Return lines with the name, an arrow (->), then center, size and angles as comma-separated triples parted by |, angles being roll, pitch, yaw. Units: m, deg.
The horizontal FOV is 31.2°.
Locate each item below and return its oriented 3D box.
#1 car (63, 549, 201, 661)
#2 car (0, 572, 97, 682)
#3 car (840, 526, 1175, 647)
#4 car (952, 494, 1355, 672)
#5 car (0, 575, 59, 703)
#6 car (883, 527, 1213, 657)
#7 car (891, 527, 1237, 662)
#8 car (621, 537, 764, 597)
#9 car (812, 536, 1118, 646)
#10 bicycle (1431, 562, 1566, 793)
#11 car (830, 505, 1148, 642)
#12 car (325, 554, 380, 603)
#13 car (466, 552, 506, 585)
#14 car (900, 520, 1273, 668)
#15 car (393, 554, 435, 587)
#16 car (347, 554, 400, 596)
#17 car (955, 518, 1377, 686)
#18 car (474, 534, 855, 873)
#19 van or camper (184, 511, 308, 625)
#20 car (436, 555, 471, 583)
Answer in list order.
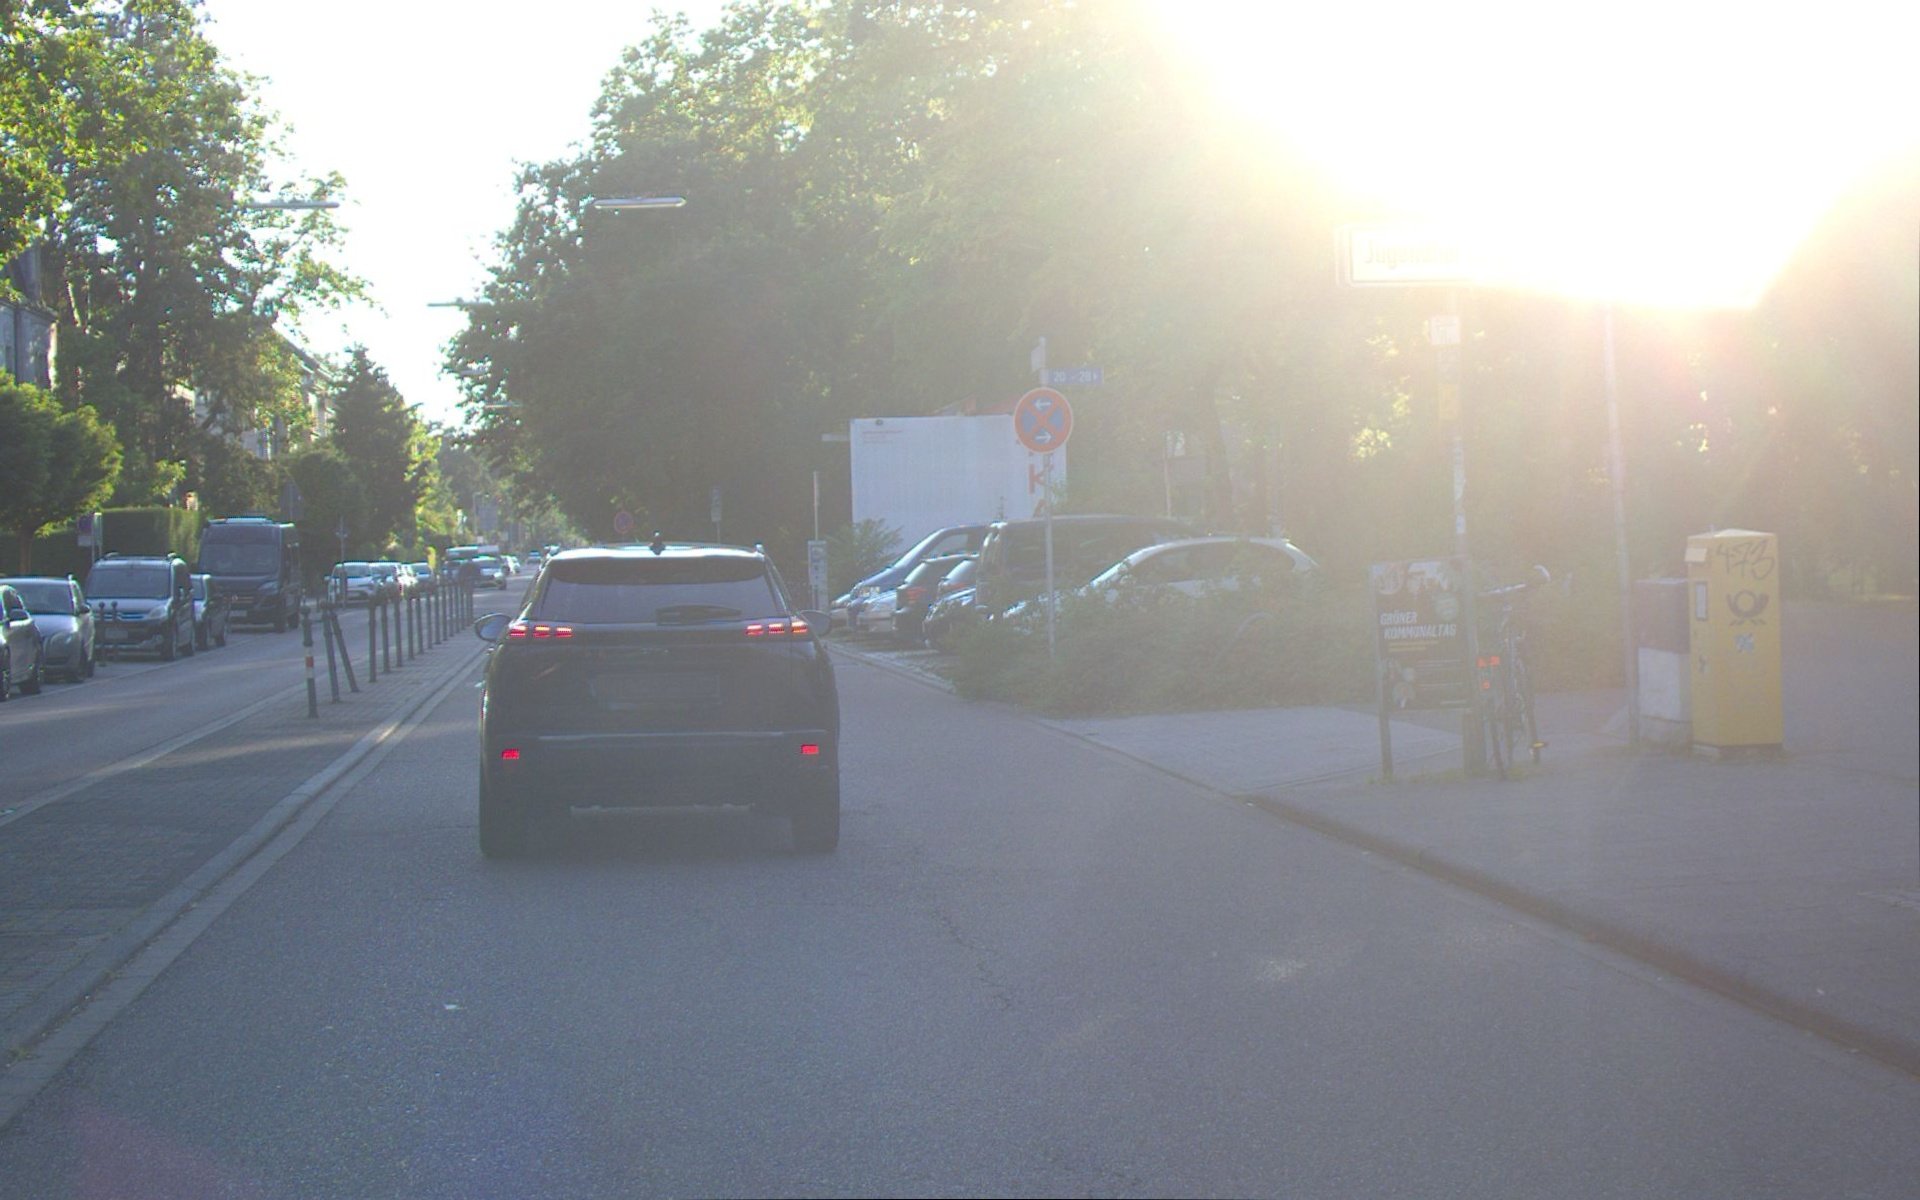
car -> -14.518, 0.049, 60.480 | 1.777, 1.859, 4.333 | 1, 1, -6
car -> -13.623, 0.364, 50.190 | 1.718, 1.491, 4.378 | -1, 1, -11
car -> 0.711, -0.230, 53.632 | 4.925, 1.548, 1.916 | -4, 1, -7
car -> 2.231, -0.211, 40.405 | 4.362, 1.774, 1.921 | -4, 1, -7
car -> -12.461, 0.464, 43.110 | 1.617, 1.491, 4.378 | -1, 1, -6
car -> 1.214, -0.129, 48.734 | 4.362, 1.532, 1.921 | -4, 1, -7
car -> 1.369, -0.092, 46.468 | 4.362, 1.532, 1.921 | -4, 1, -7
car -> -7.685, -0.957, 98.715 | 3.986, 1.549, 1.726 | -2, 2, -6
car -> 0.060, -0.171, 58.459 | 4.925, 1.548, 1.916 | -4, 1, -7
bicycle -> 3.117, 0.410, 19.772 | 0.492, 1.144, 2.284 | -4, 2, 14
car -> 0.441, -0.443, 55.934 | 4.851, 1.909, 1.916 | -4, 1, -7
car -> -20.365, -0.732, 115.327 | 1.613, 1.510, 3.713 | -3, 1, -8
car -> -22.079, -1.485, 160.198 | 1.740, 1.453, 4.625 | -2, 1, -7
car -> 1.550, -0.096, 43.100 | 4.362, 1.548, 1.876 | -4, 1, -7
car -> -25.014, -1.357, 157.507 | 1.752, 1.409, 3.765 | -3, 1, -8
car -> -21.400, -0.916, 125.551 | 1.613, 1.461, 4.037 | -2, 1, -6
car -> 2.251, 0.003, 38.148 | 4.362, 1.548, 1.728 | -4, 1, -7
car -> -1.601, 0.443, 18.167 | 1.771, 1.563, 4.110 | 0, 1, -6
van or camper -> -16.523, -0.750, 79.901 | 2.229, 2.536, 7.081 | 0, 1, -7
car -> -29.840, -1.839, 202.592 | 1.899, 1.568, 4.001 | -1, 1, -7
